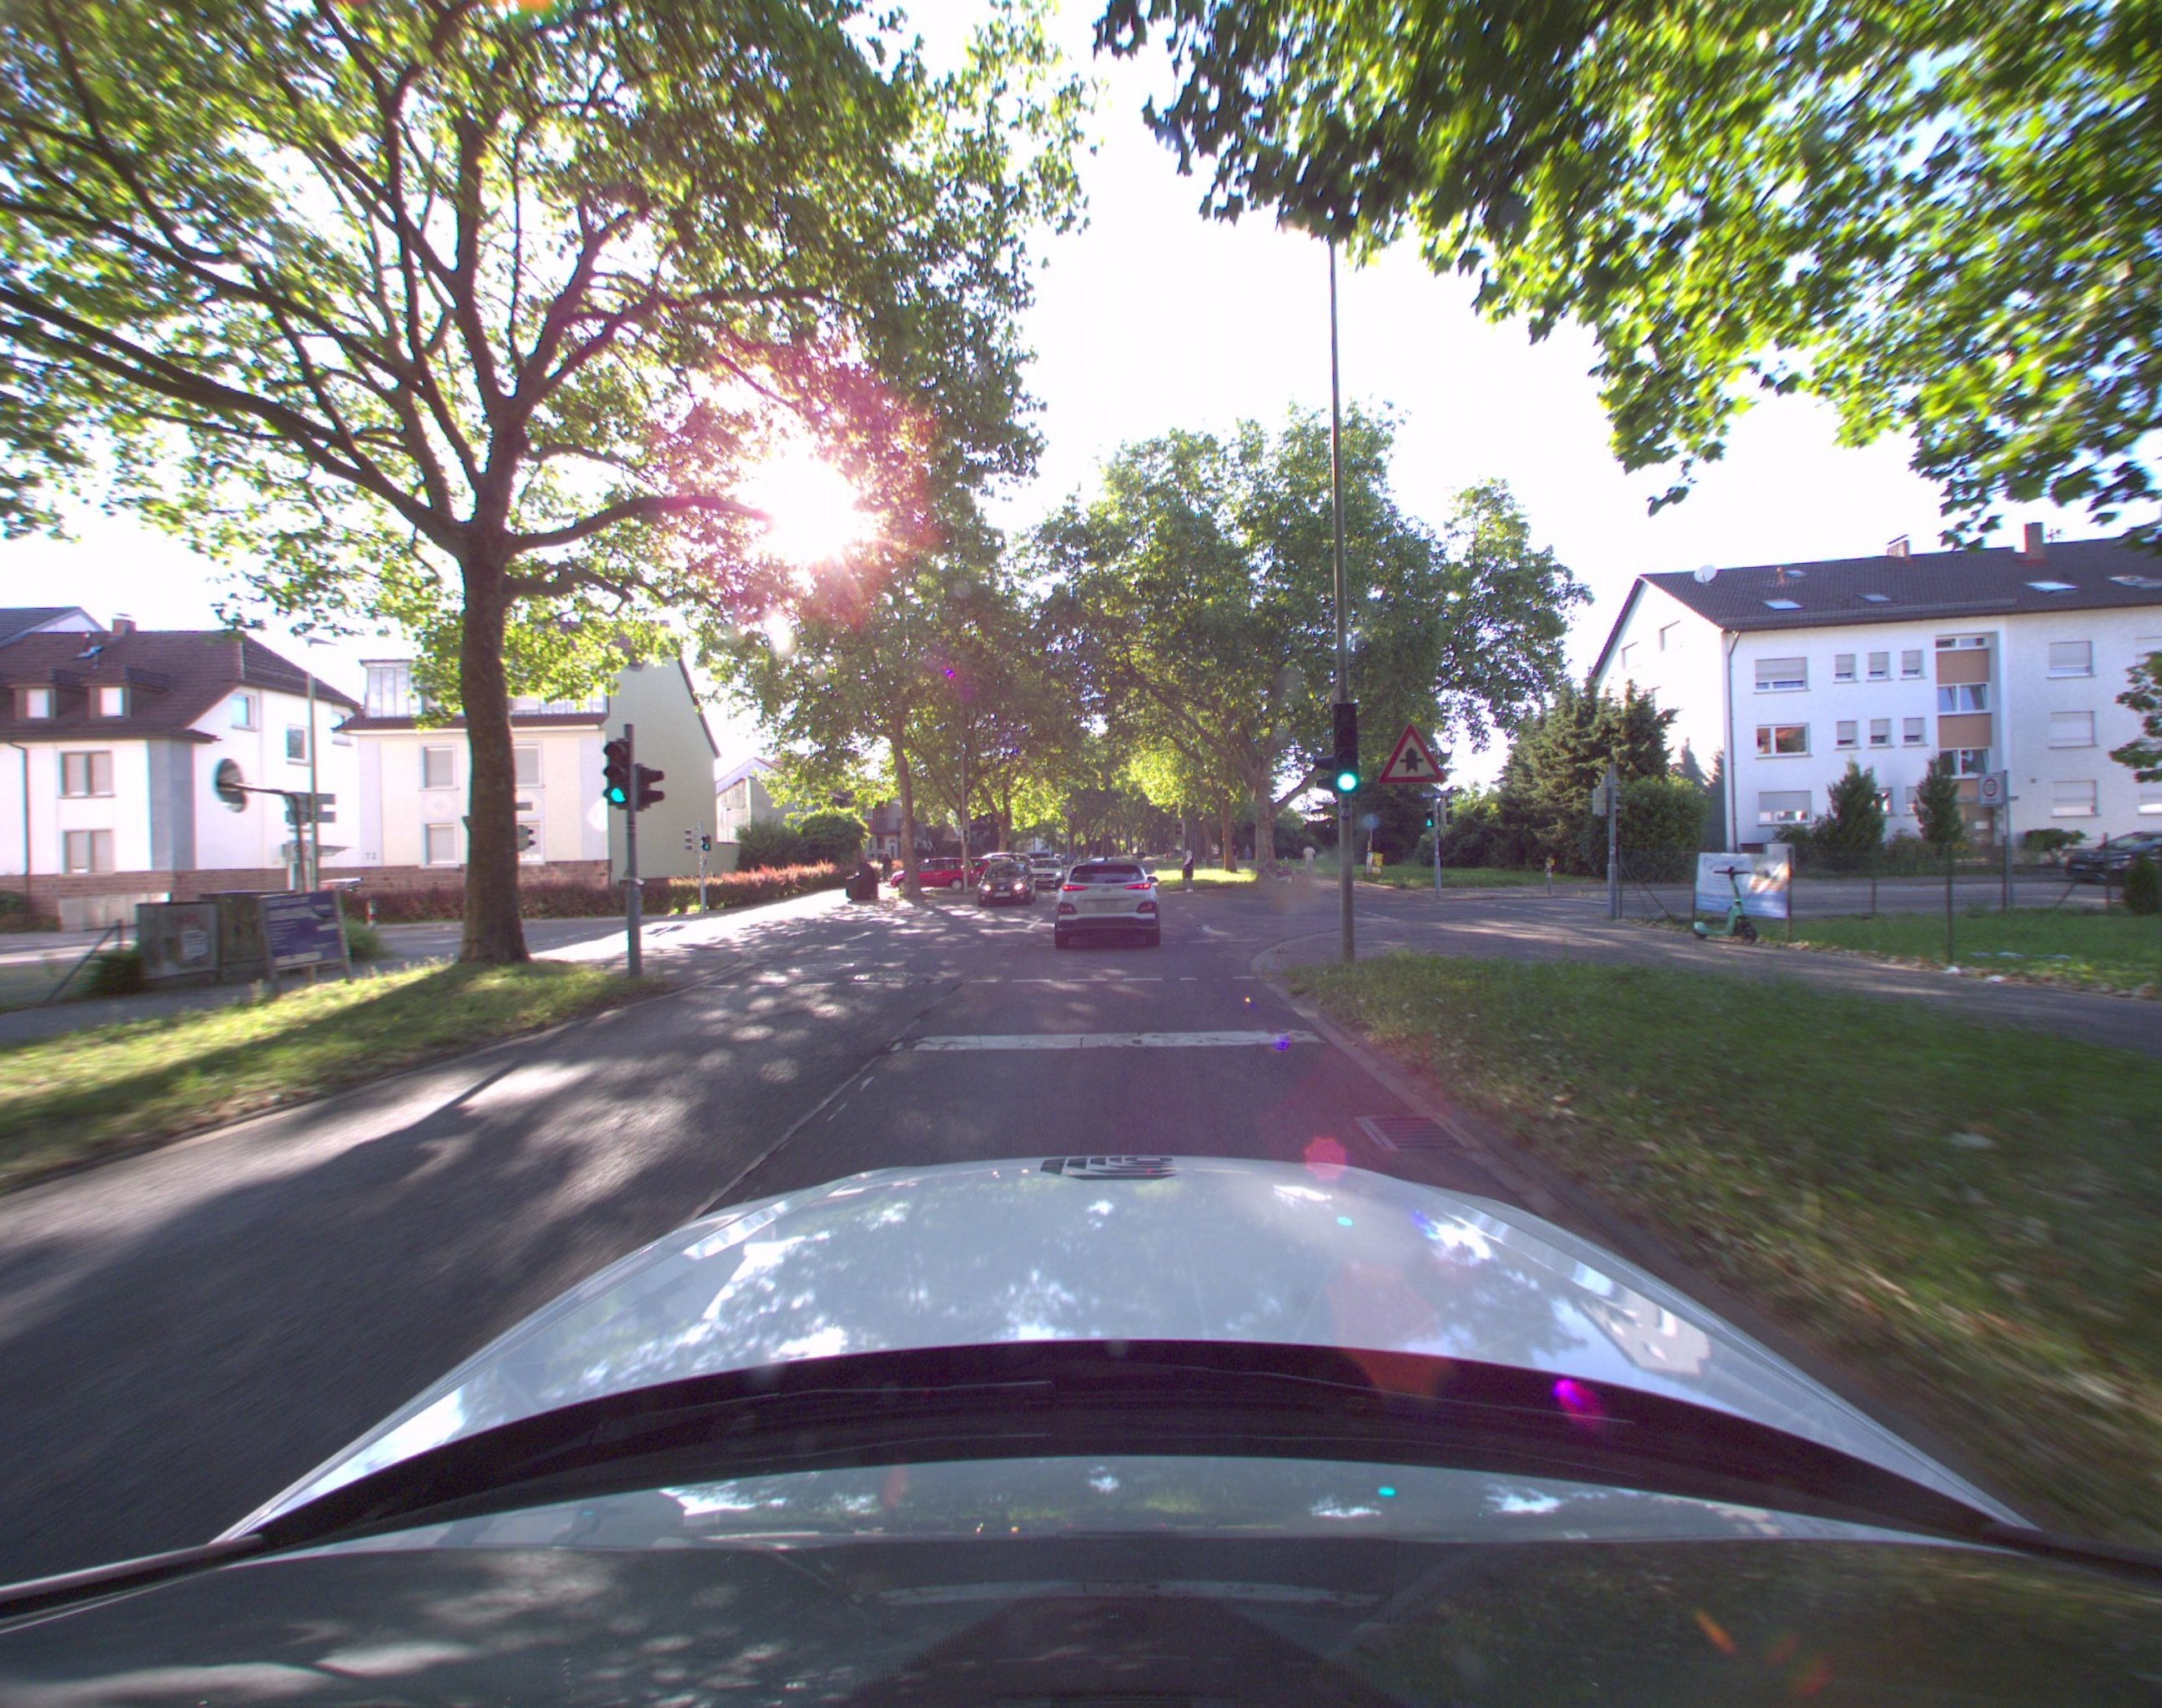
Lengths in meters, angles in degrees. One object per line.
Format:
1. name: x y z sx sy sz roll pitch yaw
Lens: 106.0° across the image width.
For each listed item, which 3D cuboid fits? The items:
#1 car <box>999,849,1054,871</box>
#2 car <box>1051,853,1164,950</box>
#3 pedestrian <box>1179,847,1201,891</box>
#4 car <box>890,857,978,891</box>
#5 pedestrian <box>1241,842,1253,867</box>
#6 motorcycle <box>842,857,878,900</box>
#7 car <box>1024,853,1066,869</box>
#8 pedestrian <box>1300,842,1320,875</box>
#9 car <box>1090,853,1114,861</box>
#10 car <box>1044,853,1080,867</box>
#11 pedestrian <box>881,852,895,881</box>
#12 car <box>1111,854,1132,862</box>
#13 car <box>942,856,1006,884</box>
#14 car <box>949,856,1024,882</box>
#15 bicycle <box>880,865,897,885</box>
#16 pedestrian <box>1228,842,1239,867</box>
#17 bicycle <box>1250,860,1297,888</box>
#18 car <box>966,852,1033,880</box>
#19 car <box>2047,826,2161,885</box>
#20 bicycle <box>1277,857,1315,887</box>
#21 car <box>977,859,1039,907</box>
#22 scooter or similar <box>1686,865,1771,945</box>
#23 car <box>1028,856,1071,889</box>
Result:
1. car: -4.515 0.486 68.032 4.369 1.824 1.996 -1 0 2
2. car: 0.480 0.795 15.406 1.829 1.555 4.001 -1 -1 1
3. pedestrian: 4.486 0.614 33.487 0.633 1.719 0.824 -4 0 -5
4. car: -6.858 0.924 38.354 3.751 1.535 1.832 -1 0 0
5. pedestrian: 12.664 0.053 62.119 0.750 1.847 0.804 -2 0 7
6. motorcycle: -9.114 0.977 33.683 0.978 1.637 2.386 -2 2 -4
7. car: -3.436 0.690 78.174 3.856 1.518 1.666 0 0 2
8. pedestrian: 11.943 0.231 42.471 0.776 1.649 0.939 -2 0 3
9. car: 3.361 0.486 129.775 3.806 1.316 1.793 0 0 6
10. car: -2.128 0.720 91.831 3.973 1.518 1.818 -1 0 2
11. pedestrian: -10.369 0.642 43.794 0.508 1.531 1.033 -2 0 -3
12. car: 8.368 0.730 167.096 4.163 1.584 2.003 -1 0 5
13. car: -6.007 0.893 45.893 3.327 1.480 1.696 0 0 1
14. car: -5.559 0.868 48.240 4.146 1.501 1.876 -1 0 1
15. bicycle: -10.352 1.140 43.888 0.508 1.042 2.150 -2 -1 -3
16. pedestrian: 11.651 0.058 62.199 0.757 1.846 0.789 -2 0 7
17. bicycle: 7.505 0.795 31.834 1.698 1.035 0.449 -2 2 38
18. car: -5.268 0.772 53.163 4.074 1.716 1.833 -1 0 3
19. car: 32.774 0.016 25.035 3.729 1.594 1.872 -2 3 5
20. bicycle: 8.613 0.699 32.696 0.446 1.082 1.996 -4 2 -17
21. car: -2.435 0.936 27.979 1.721 1.464 4.067 -2 0 0
22. scooter or similar: 10.405 0.793 13.126 0.381 1.196 1.255 0 0 1
23. car: -1.515 0.883 40.495 1.709 1.501 4.098 -1 0 4
